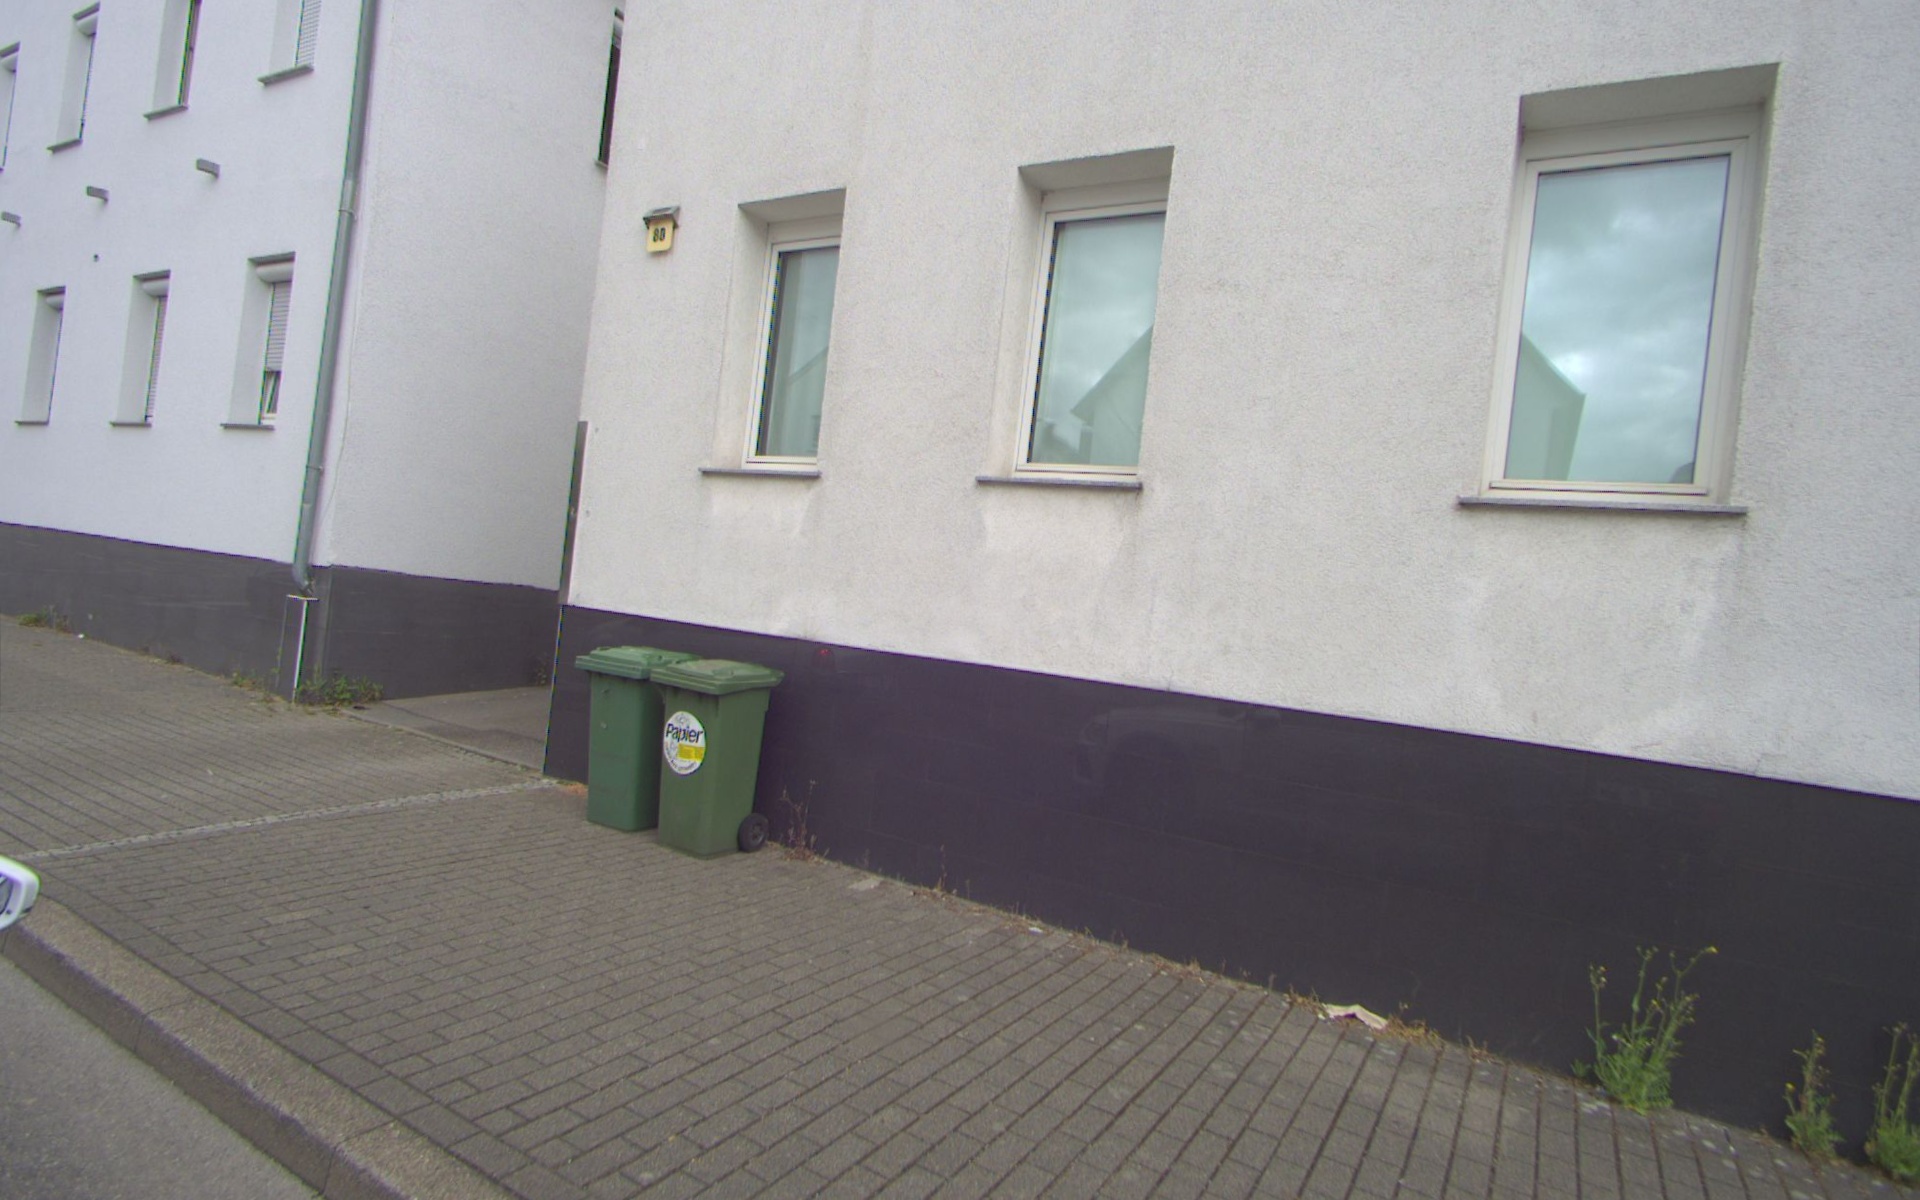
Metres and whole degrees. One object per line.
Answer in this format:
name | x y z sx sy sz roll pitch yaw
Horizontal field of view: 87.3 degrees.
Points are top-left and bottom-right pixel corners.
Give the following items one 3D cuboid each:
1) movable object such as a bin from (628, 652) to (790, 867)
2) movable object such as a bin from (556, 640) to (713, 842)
movable object such as a bin | -1.257 0.766 5.065 0.479 0.953 0.540 7 2 32
movable object such as a bin | -1.715 0.713 5.322 0.479 0.953 0.540 7 2 32
